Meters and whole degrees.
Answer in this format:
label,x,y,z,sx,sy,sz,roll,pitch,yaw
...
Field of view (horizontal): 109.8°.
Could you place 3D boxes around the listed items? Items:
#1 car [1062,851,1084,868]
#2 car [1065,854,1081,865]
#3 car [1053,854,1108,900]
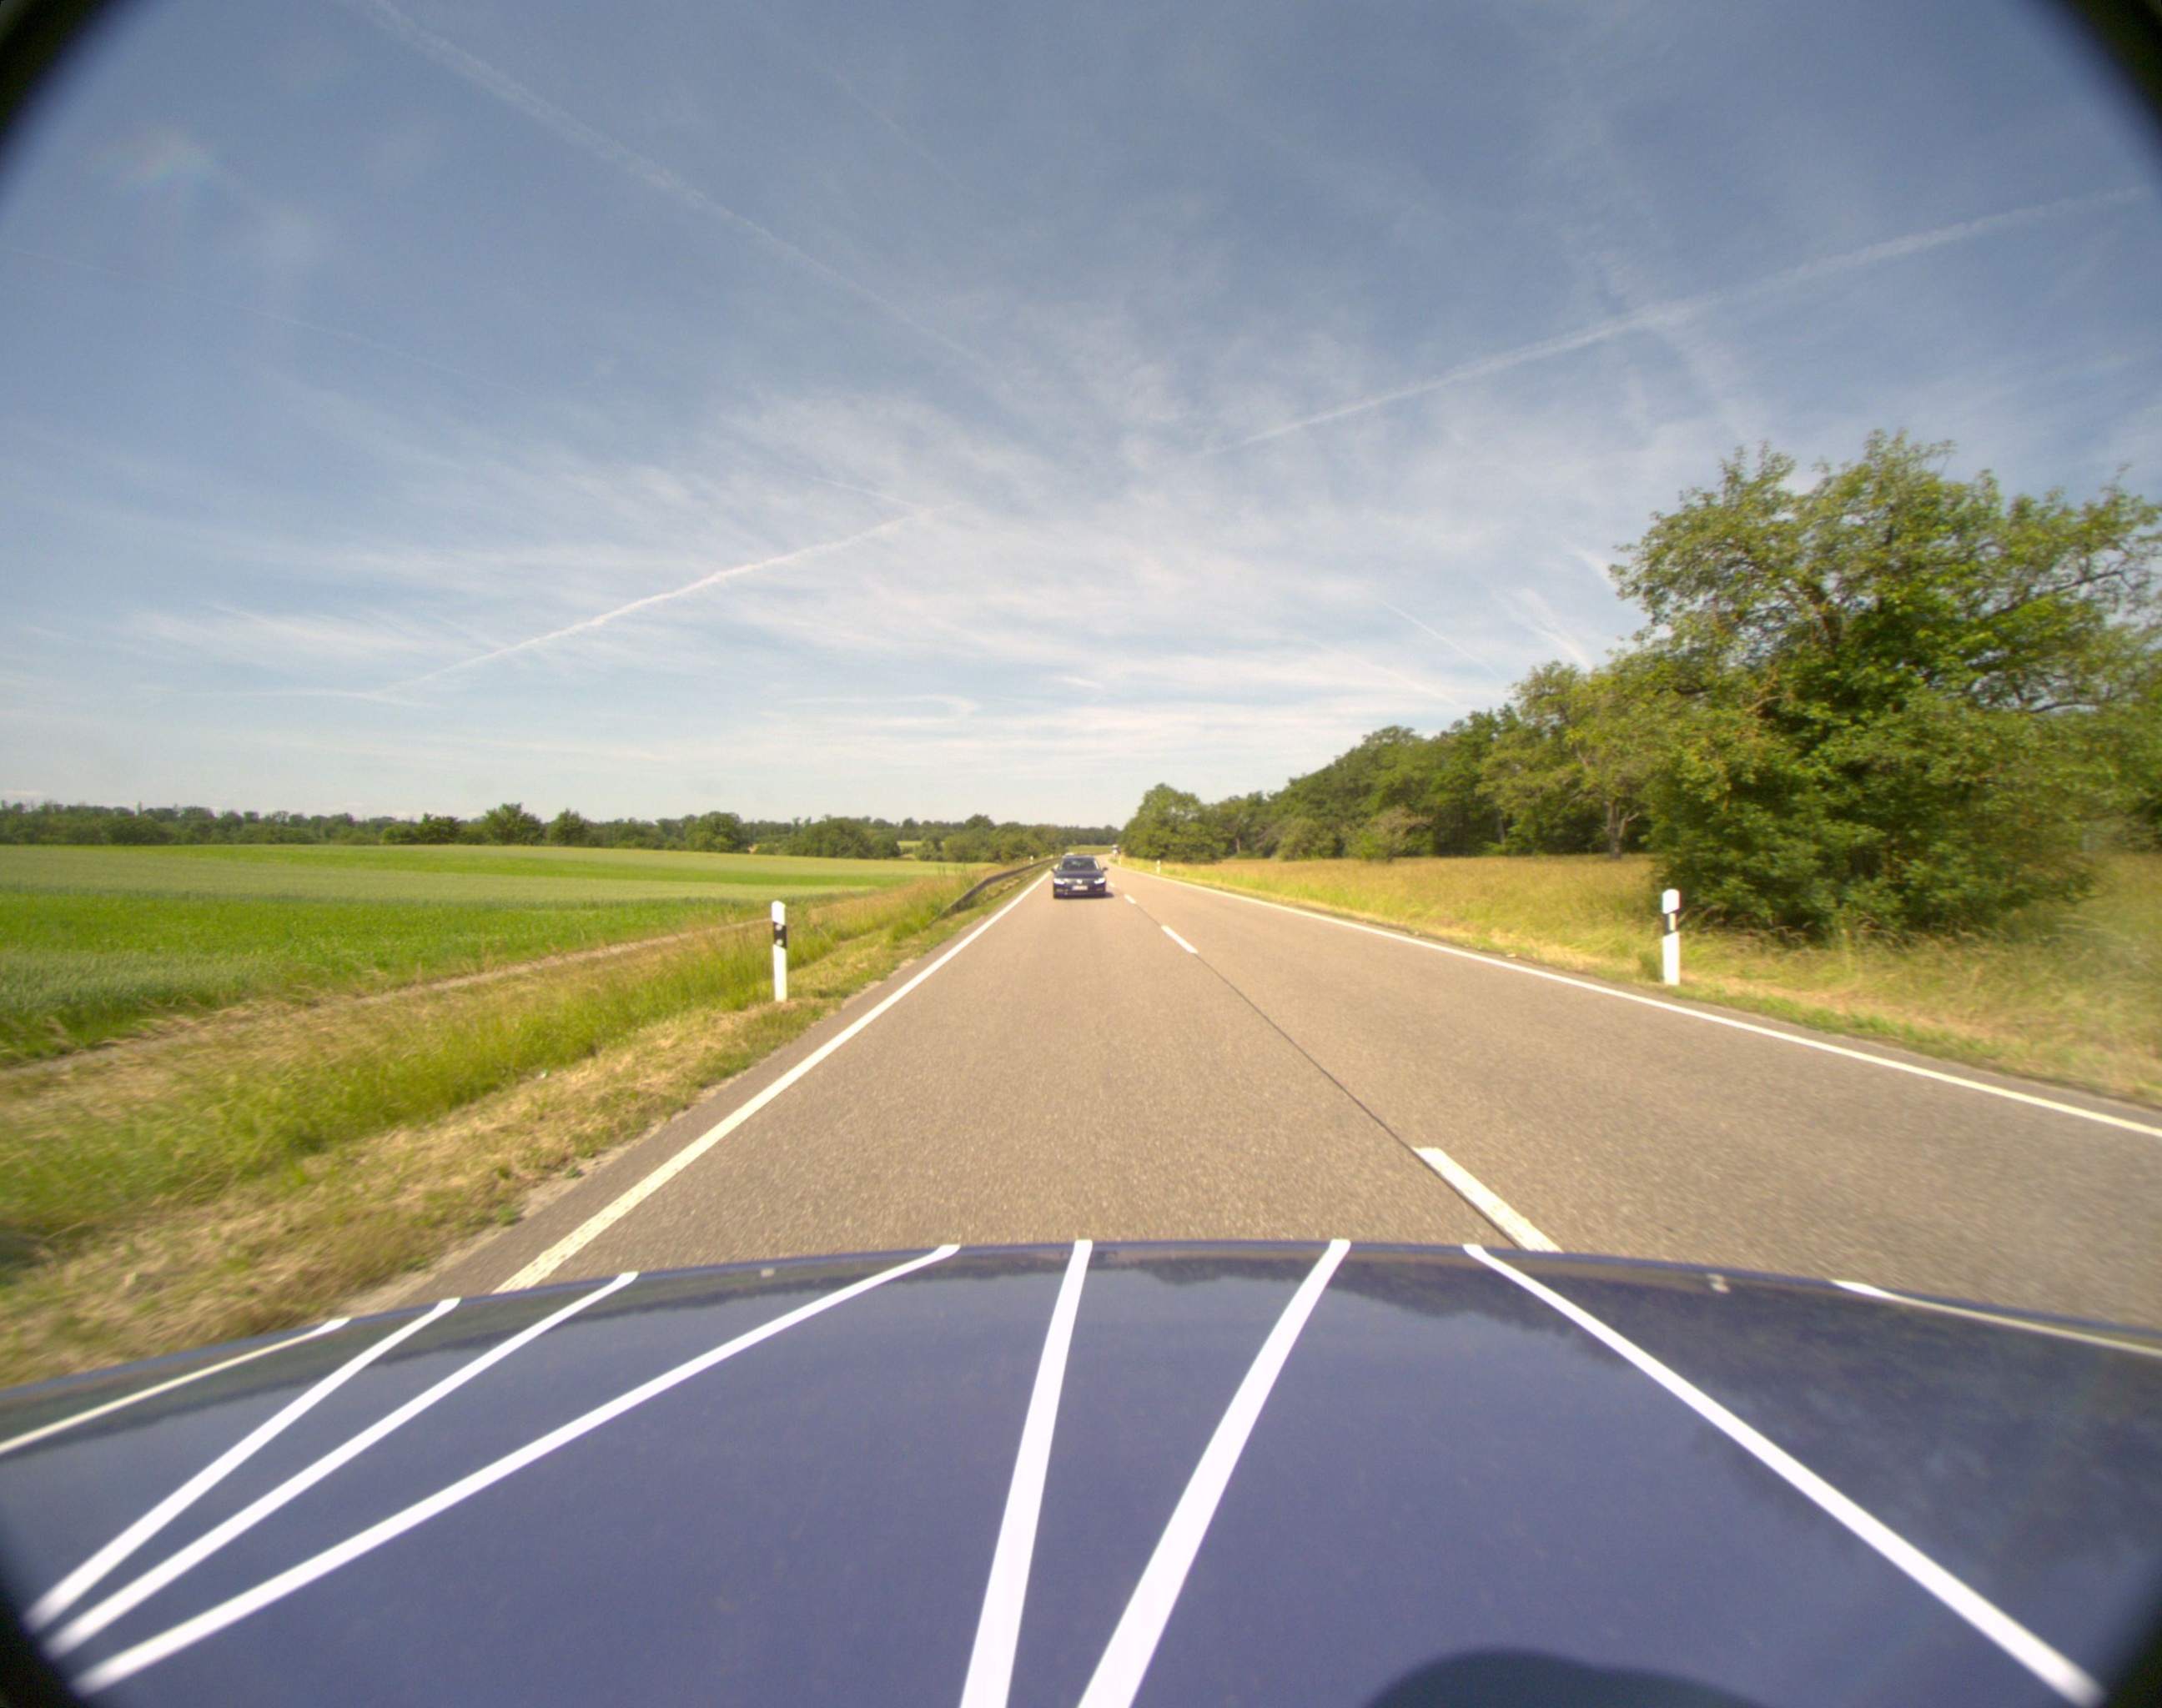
label,x,y,z,sx,sy,sz,roll,pitch,yaw
car,-0.758,0.533,71.153,1.928,1.501,4.291,-1,0,-2
car,-1.134,0.755,103.833,1.928,1.501,4.290,0,0,-3
car,-0.075,0.775,27.711,1.822,1.501,4.500,-1,0,-1
